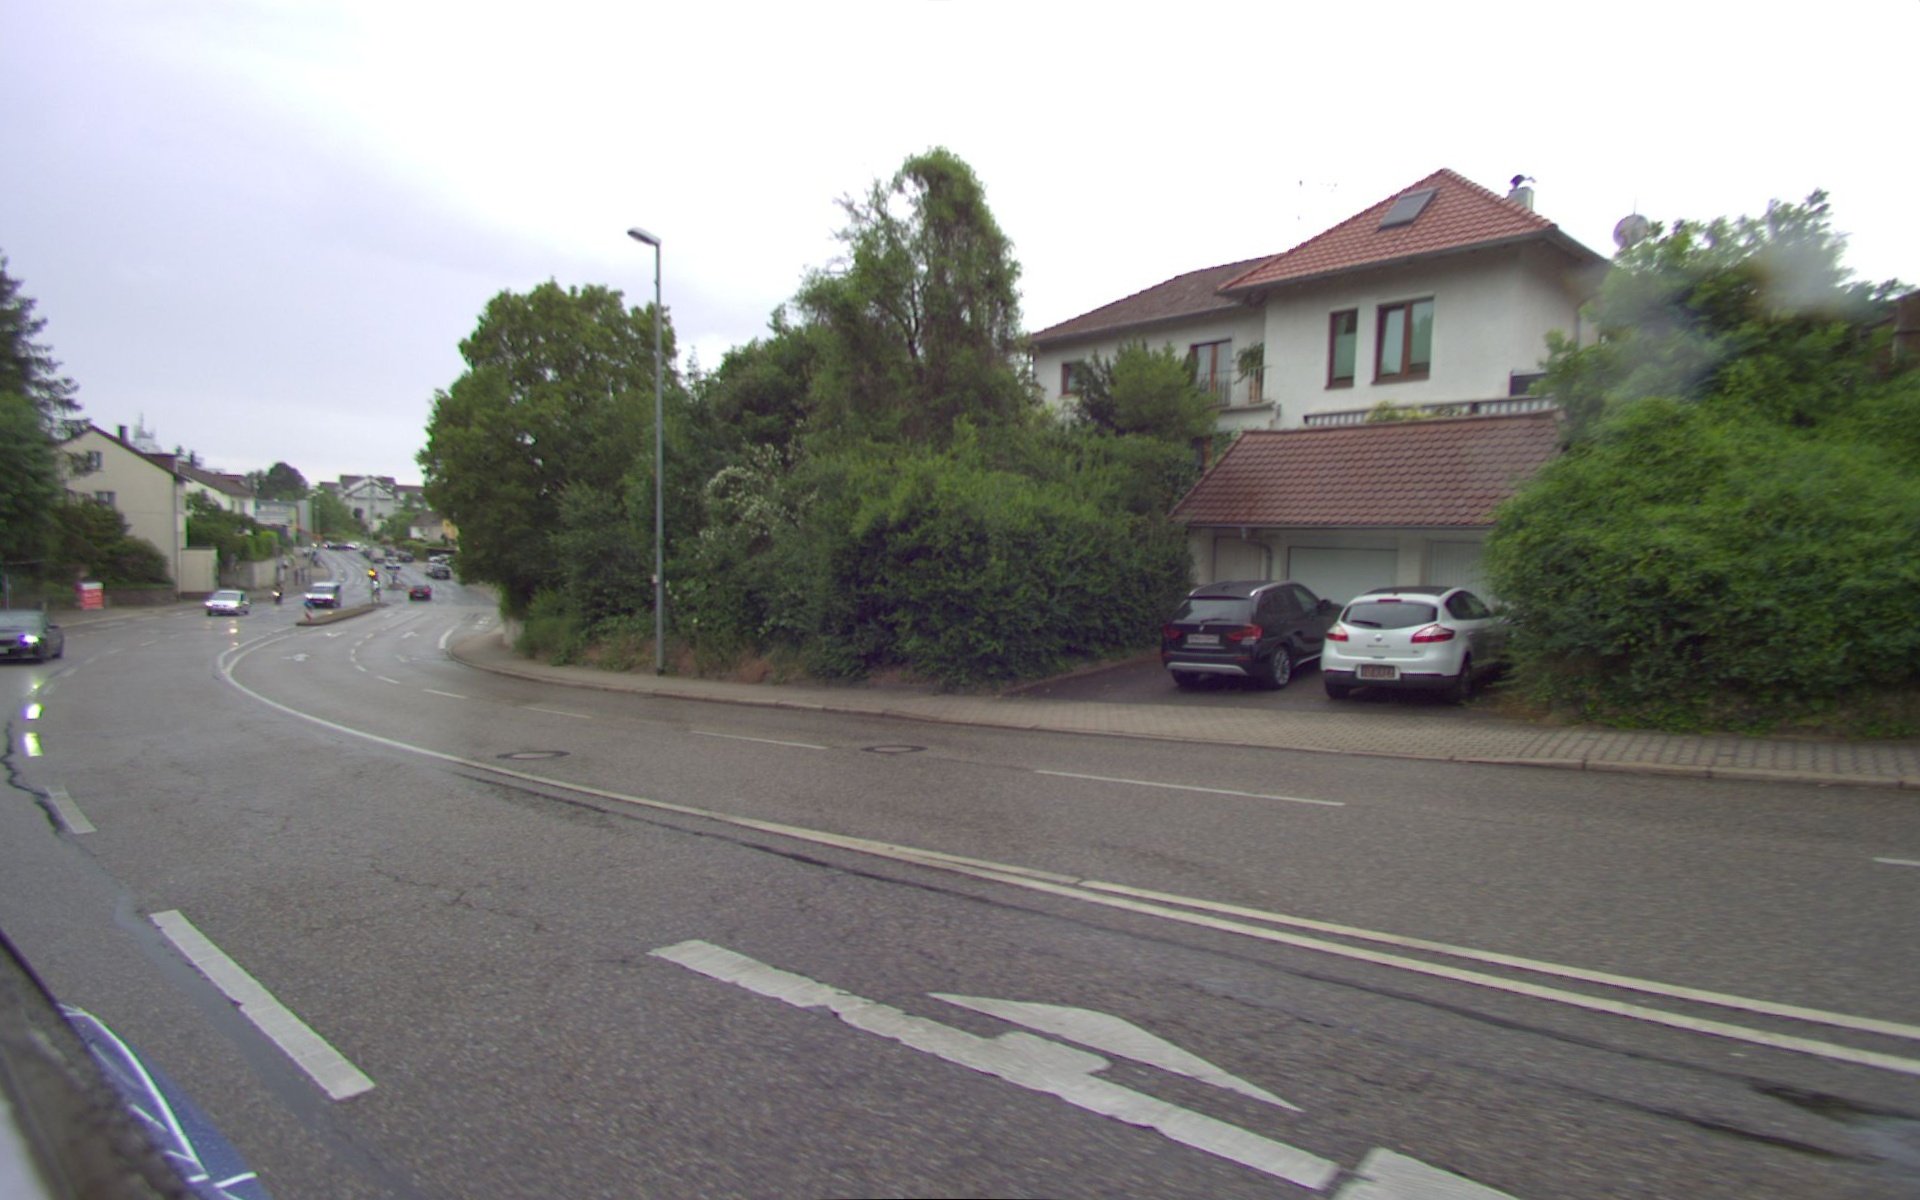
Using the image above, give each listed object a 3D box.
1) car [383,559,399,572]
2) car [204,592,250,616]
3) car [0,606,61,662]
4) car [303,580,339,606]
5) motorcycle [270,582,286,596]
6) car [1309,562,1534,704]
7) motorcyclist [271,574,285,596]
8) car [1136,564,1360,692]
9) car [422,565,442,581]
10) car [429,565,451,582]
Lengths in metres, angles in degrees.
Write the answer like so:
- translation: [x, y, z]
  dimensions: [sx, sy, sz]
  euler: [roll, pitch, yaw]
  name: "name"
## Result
- translation: [-82.613, -4.962, 146.956]
  dimensions: [1.822, 1.798, 4.011]
  euler: [-1, 0, -33]
  name: "car"
- translation: [-46.855, 0.305, 64.737]
  dimensions: [1.787, 1.450, 4.013]
  euler: [2, -2, -28]
  name: "car"
- translation: [-27.853, 0.970, 29.656]
  dimensions: [1.843, 1.517, 4.207]
  euler: [-1, 0, -36]
  name: "car"
- translation: [-48.952, -0.513, 77.591]
  dimensions: [1.748, 1.788, 4.013]
  euler: [1, -2, -24]
  name: "car"
- translation: [-54.242, -0.896, 80.520]
  dimensions: [0.681, 1.061, 1.753]
  euler: [1, -1, -22]
  name: "motorcycle"
- translation: [6.576, 0.363, 14.191]
  dimensions: [1.810, 1.451, 3.862]
  euler: [-2, 4, 41]
  name: "car"
- translation: [-54.232, -1.187, 80.488]
  dimensions: [0.754, 1.655, 0.676]
  euler: [1, -1, -22]
  name: "motorcyclist"
- translation: [4.774, 0.368, 16.408]
  dimensions: [1.999, 1.547, 3.948]
  euler: [-2, 4, 40]
  name: "car"
- translation: [-70.330, -3.526, 134.736]
  dimensions: [1.804, 2.029, 4.010]
  euler: [-1, 0, -34]
  name: "car"
- translation: [-66.307, -3.361, 129.116]
  dimensions: [1.967, 2.029, 4.010]
  euler: [-1, 0, -34]
  name: "car"
